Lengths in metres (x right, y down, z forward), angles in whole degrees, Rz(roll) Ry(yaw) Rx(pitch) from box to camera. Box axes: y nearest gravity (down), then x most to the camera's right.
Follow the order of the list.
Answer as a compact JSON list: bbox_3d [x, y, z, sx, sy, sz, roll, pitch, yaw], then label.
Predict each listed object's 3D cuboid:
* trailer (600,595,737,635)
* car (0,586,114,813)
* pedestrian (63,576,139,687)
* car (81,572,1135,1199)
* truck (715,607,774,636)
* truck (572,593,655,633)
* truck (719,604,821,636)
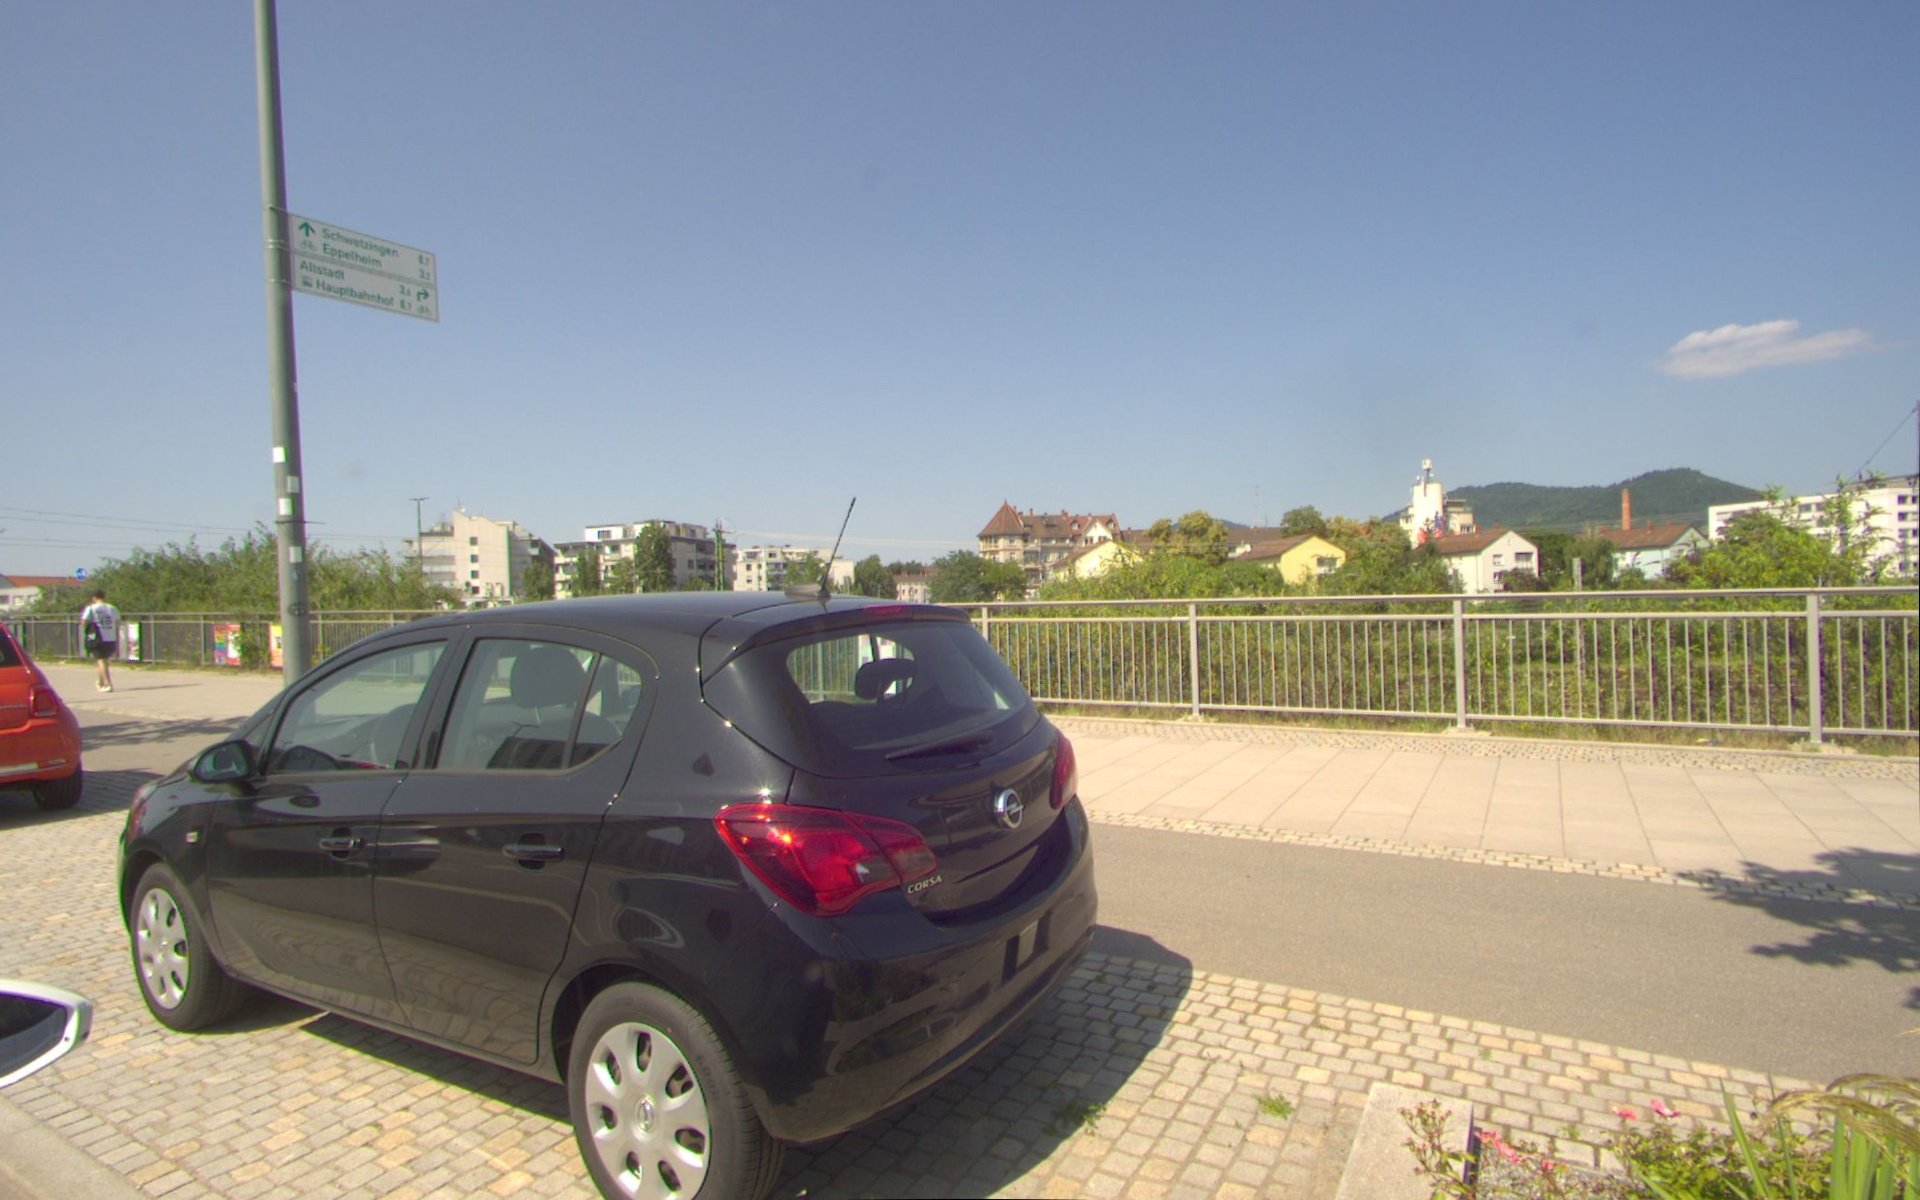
[{"bbox_3d":[-26.985,1.560,94.601,3.674,3.243,17.244,-1,-3,17],"label":"trailer"},{"bbox_3d":[-8.388,0.744,7.739,3.860,1.560,1.666,-2,1,32],"label":"car"},{"bbox_3d":[-14.773,0.554,17.231,0.872,1.853,0.757,-1,-2,32],"label":"pedestrian"},{"bbox_3d":[-1.338,0.746,3.486,3.495,1.577,1.577,-1,2,32],"label":"car"},{"bbox_3d":[-25.381,2.576,118.587,2.459,3.197,9.899,-1,-2,16],"label":"truck"},{"bbox_3d":[-29.528,1.189,85.642,3.672,3.244,6.485,-1,-2,17],"label":"truck"},{"bbox_3d":[-21.270,2.394,114.405,3.674,3.243,17.876,-1,-3,17],"label":"truck"}]
